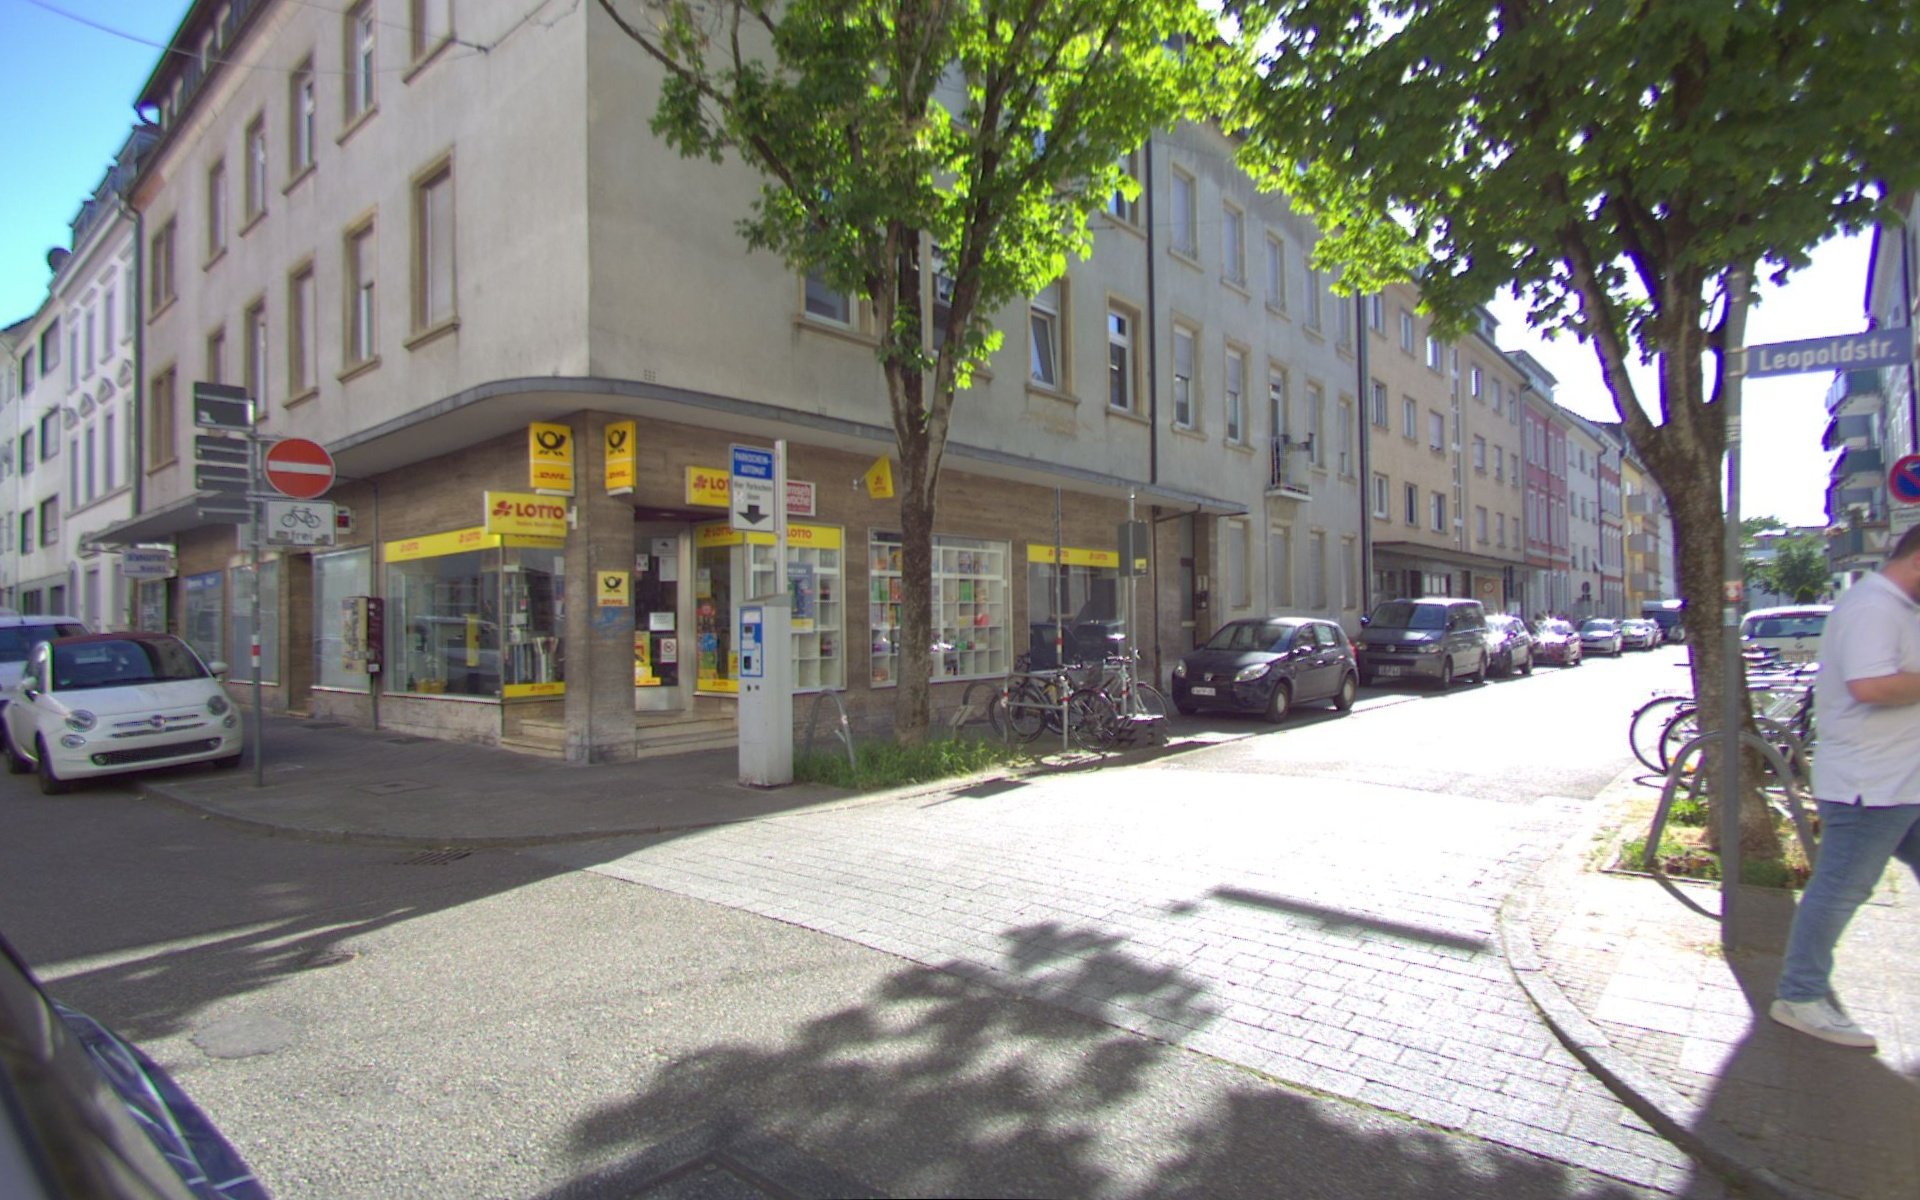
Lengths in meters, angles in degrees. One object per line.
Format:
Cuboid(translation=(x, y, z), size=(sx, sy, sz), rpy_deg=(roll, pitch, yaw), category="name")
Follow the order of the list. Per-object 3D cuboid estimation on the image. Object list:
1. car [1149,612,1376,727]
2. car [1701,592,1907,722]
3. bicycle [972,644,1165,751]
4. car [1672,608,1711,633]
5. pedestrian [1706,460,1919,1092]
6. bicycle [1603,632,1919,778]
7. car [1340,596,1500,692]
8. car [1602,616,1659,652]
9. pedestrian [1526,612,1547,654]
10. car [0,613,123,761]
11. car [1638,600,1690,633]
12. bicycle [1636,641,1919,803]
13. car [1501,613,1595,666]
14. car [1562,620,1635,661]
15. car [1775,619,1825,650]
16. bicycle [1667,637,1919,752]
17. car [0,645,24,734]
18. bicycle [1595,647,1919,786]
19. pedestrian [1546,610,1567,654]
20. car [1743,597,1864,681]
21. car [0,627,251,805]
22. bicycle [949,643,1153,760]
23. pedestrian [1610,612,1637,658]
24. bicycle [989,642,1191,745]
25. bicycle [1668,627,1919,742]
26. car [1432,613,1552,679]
Cuboid(translation=(4.972, 0.994, 16.306), size=(1.902, 1.598, 4.181), rpy_deg=(0, -1, 42), category="car")
Cuboid(translation=(12.387, 0.792, 14.868), size=(1.995, 1.626, 4.116), rpy_deg=(-4, -3, 41), category="car")
Cuboid(translation=(1.233, 1.103, 11.990), size=(2.402, 1.126, 0.516), rpy_deg=(-1, -2, 41), category="bicycle")
Cuboid(translation=(50.767, 1.411, 70.182), size=(1.776, 1.655, 3.913), rpy_deg=(-2, -1, 42), category="car")
Cuboid(translation=(3.239, 0.505, 3.198), size=(1.244, 1.846, 0.901), rpy_deg=(-5, -4, 40), category="pedestrian")
Cuboid(translation=(7.300, 0.930, 9.123), size=(2.437, 1.194, 0.497), rpy_deg=(-5, -5, 40), category="bicycle")
Cuboid(translation=(10.499, 0.920, 22.933), size=(2.084, 1.961, 4.535), rpy_deg=(0, -1, 41), category="car")
Cuboid(translation=(32.013, 1.593, 48.254), size=(1.669, 1.598, 3.821), rpy_deg=(-2, -2, 42), category="car")
Cuboid(translation=(24.000, 1.366, 42.144), size=(0.623, 1.730, 0.655), rpy_deg=(-2, -2, 41), category="pedestrian")
Cuboid(translation=(-13.997, 1.219, 14.831), size=(4.804, 1.913, 1.749), rpy_deg=(-3, -4, 39), category="car")
Cuboid(translation=(42.543, 0.974, 61.110), size=(1.999, 1.909, 4.640), rpy_deg=(-2, -1, 42), category="car")
Cuboid(translation=(6.335, 0.879, 7.558), size=(2.061, 1.110, 0.477), rpy_deg=(-4, -3, 40), category="bicycle")
Cuboid(translation=(19.337, 1.286, 33.208), size=(1.828, 1.646, 3.885), rpy_deg=(-4, -4, 42), category="car")
Cuboid(translation=(26.084, 1.639, 41.314), size=(1.828, 1.557, 3.993), rpy_deg=(-3, -2, 42), category="car")
Cuboid(translation=(44.981, 1.840, 54.175), size=(1.828, 1.599, 4.181), rpy_deg=(-4, -4, 42), category="car")
Cuboid(translation=(8.624, 0.986, 10.493), size=(1.995, 1.075, 0.672), rpy_deg=(-6, -5, 40), category="bicycle")
Cuboid(translation=(-18.696, 1.611, 18.542), size=(4.484, 1.535, 1.648), rpy_deg=(-3, -4, 40), category="car")
Cuboid(translation=(6.810, 0.981, 8.674), size=(2.182, 1.037, 0.632), rpy_deg=(-6, -4, 42), category="bicycle")
Cuboid(translation=(24.891, 1.334, 42.241), size=(0.623, 1.802, 0.655), rpy_deg=(-2, -2, 41), category="pedestrian")
Cuboid(translation=(19.440, 0.875, 23.254), size=(1.865, 1.705, 4.181), rpy_deg=(-6, -4, 42), category="car")
Cuboid(translation=(-9.159, 1.112, 10.929), size=(3.720, 1.572, 1.650), rpy_deg=(-2, -2, 41), category="car")
Cuboid(translation=(0.968, 1.083, 11.344), size=(2.307, 1.152, 0.700), rpy_deg=(-2, -2, 42), category="bicycle")
Cuboid(translation=(29.765, 1.561, 45.439), size=(0.851, 2.029, 0.861), rpy_deg=(-1, -1, 25), category="pedestrian")
Cuboid(translation=(1.567, 1.107, 12.482), size=(2.423, 1.135, 0.701), rpy_deg=(-1, -1, 33), category="bicycle")
Cuboid(translation=(9.427, 0.952, 11.243), size=(2.420, 1.155, 0.825), rpy_deg=(-7, -5, 40), category="bicycle")
Cuboid(translation=(14.308, 1.215, 27.122), size=(1.856, 1.601, 4.349), rpy_deg=(-4, -4, 41), category="car")
